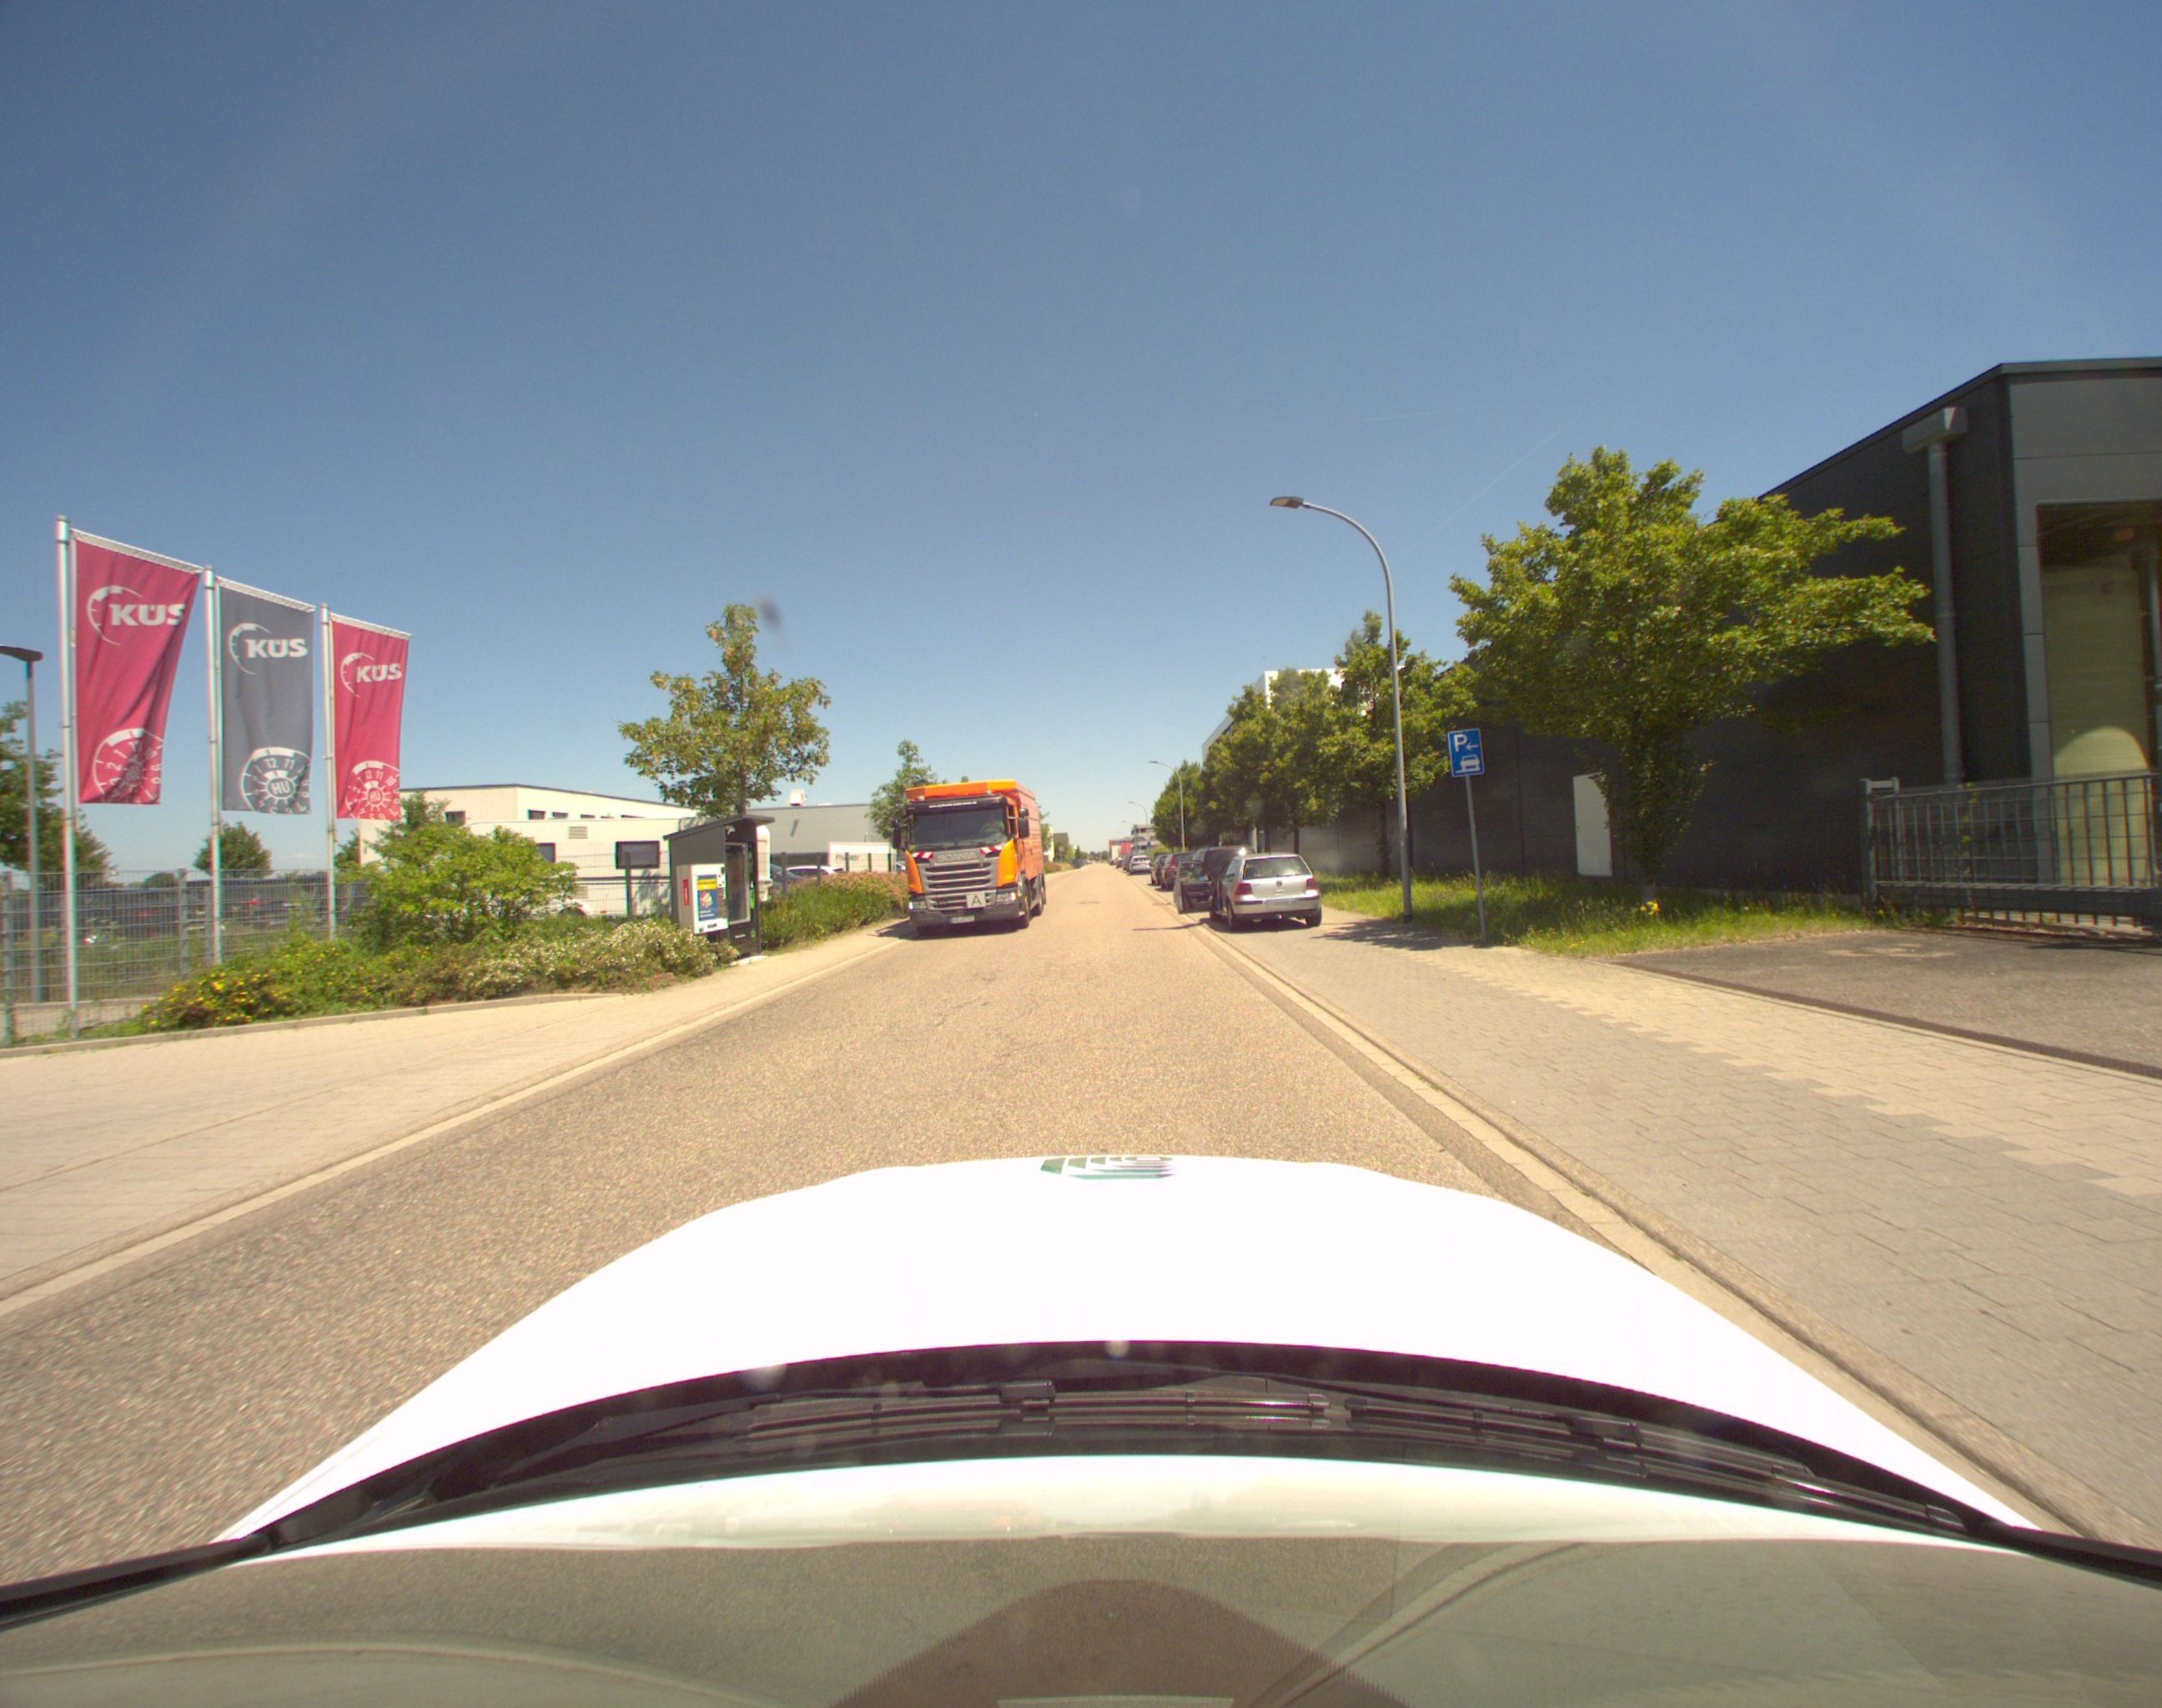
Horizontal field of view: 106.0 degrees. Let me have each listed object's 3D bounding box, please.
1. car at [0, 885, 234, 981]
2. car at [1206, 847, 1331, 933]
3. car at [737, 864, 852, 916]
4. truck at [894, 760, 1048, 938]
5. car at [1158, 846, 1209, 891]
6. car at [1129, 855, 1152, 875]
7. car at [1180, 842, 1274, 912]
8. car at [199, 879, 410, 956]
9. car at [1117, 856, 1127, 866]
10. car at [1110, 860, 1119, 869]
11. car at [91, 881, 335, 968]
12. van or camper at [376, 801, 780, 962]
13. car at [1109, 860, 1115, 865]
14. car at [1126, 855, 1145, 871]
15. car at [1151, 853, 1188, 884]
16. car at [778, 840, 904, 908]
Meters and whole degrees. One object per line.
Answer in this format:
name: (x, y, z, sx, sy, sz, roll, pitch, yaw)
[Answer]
car: (-21.684, 1.712, 17.932, 3.974, 1.816, 1.916, -3, -1, 0)
car: (3.661, 0.666, 16.529, 1.712, 1.450, 3.647, -3, -1, 1)
car: (-10.159, 1.264, 29.017, 3.477, 1.611, 1.500, -3, -1, 0)
truck: (-2.445, -0.097, 20.972, 2.440, 3.513, 8.274, -4, 0, 1)
car: (4.266, 0.585, 34.370, 1.715, 1.694, 3.986, -3, 0, 2)
car: (4.596, 0.832, 63.473, 1.579, 1.409, 3.501, -3, 0, 1)
car: (3.920, 0.590, 22.506, 1.674, 1.686, 3.996, -3, 0, -3)
car: (-21.530, 1.731, 22.706, 3.974, 1.816, 1.916, -3, -1, 0)
car: (6.423, 1.081, 127.860, 1.490, 1.409, 3.501, -3, 0, 1)
car: (5.842, 1.807, 144.059, 1.490, 1.409, 3.501, -3, 0, 1)
car: (-21.572, 1.717, 20.379, 3.974, 1.816, 1.916, -3, -1, 0)
van or camper: (-11.157, 0.587, 18.627, 7.360, 3.037, 2.790, -3, -1, 0)
car: (9.148, 2.430, 238.852, 1.490, 1.409, 3.501, -3, 0, 1)
car: (4.993, 0.838, 75.222, 1.490, 1.409, 3.501, -3, 0, 1)
car: (4.365, 0.721, 40.703, 1.490, 1.409, 3.501, -3, 0, 1)
car: (-10.195, 0.818, 34.918, 4.704, 2.586, 1.998, -3, -1, -3)
